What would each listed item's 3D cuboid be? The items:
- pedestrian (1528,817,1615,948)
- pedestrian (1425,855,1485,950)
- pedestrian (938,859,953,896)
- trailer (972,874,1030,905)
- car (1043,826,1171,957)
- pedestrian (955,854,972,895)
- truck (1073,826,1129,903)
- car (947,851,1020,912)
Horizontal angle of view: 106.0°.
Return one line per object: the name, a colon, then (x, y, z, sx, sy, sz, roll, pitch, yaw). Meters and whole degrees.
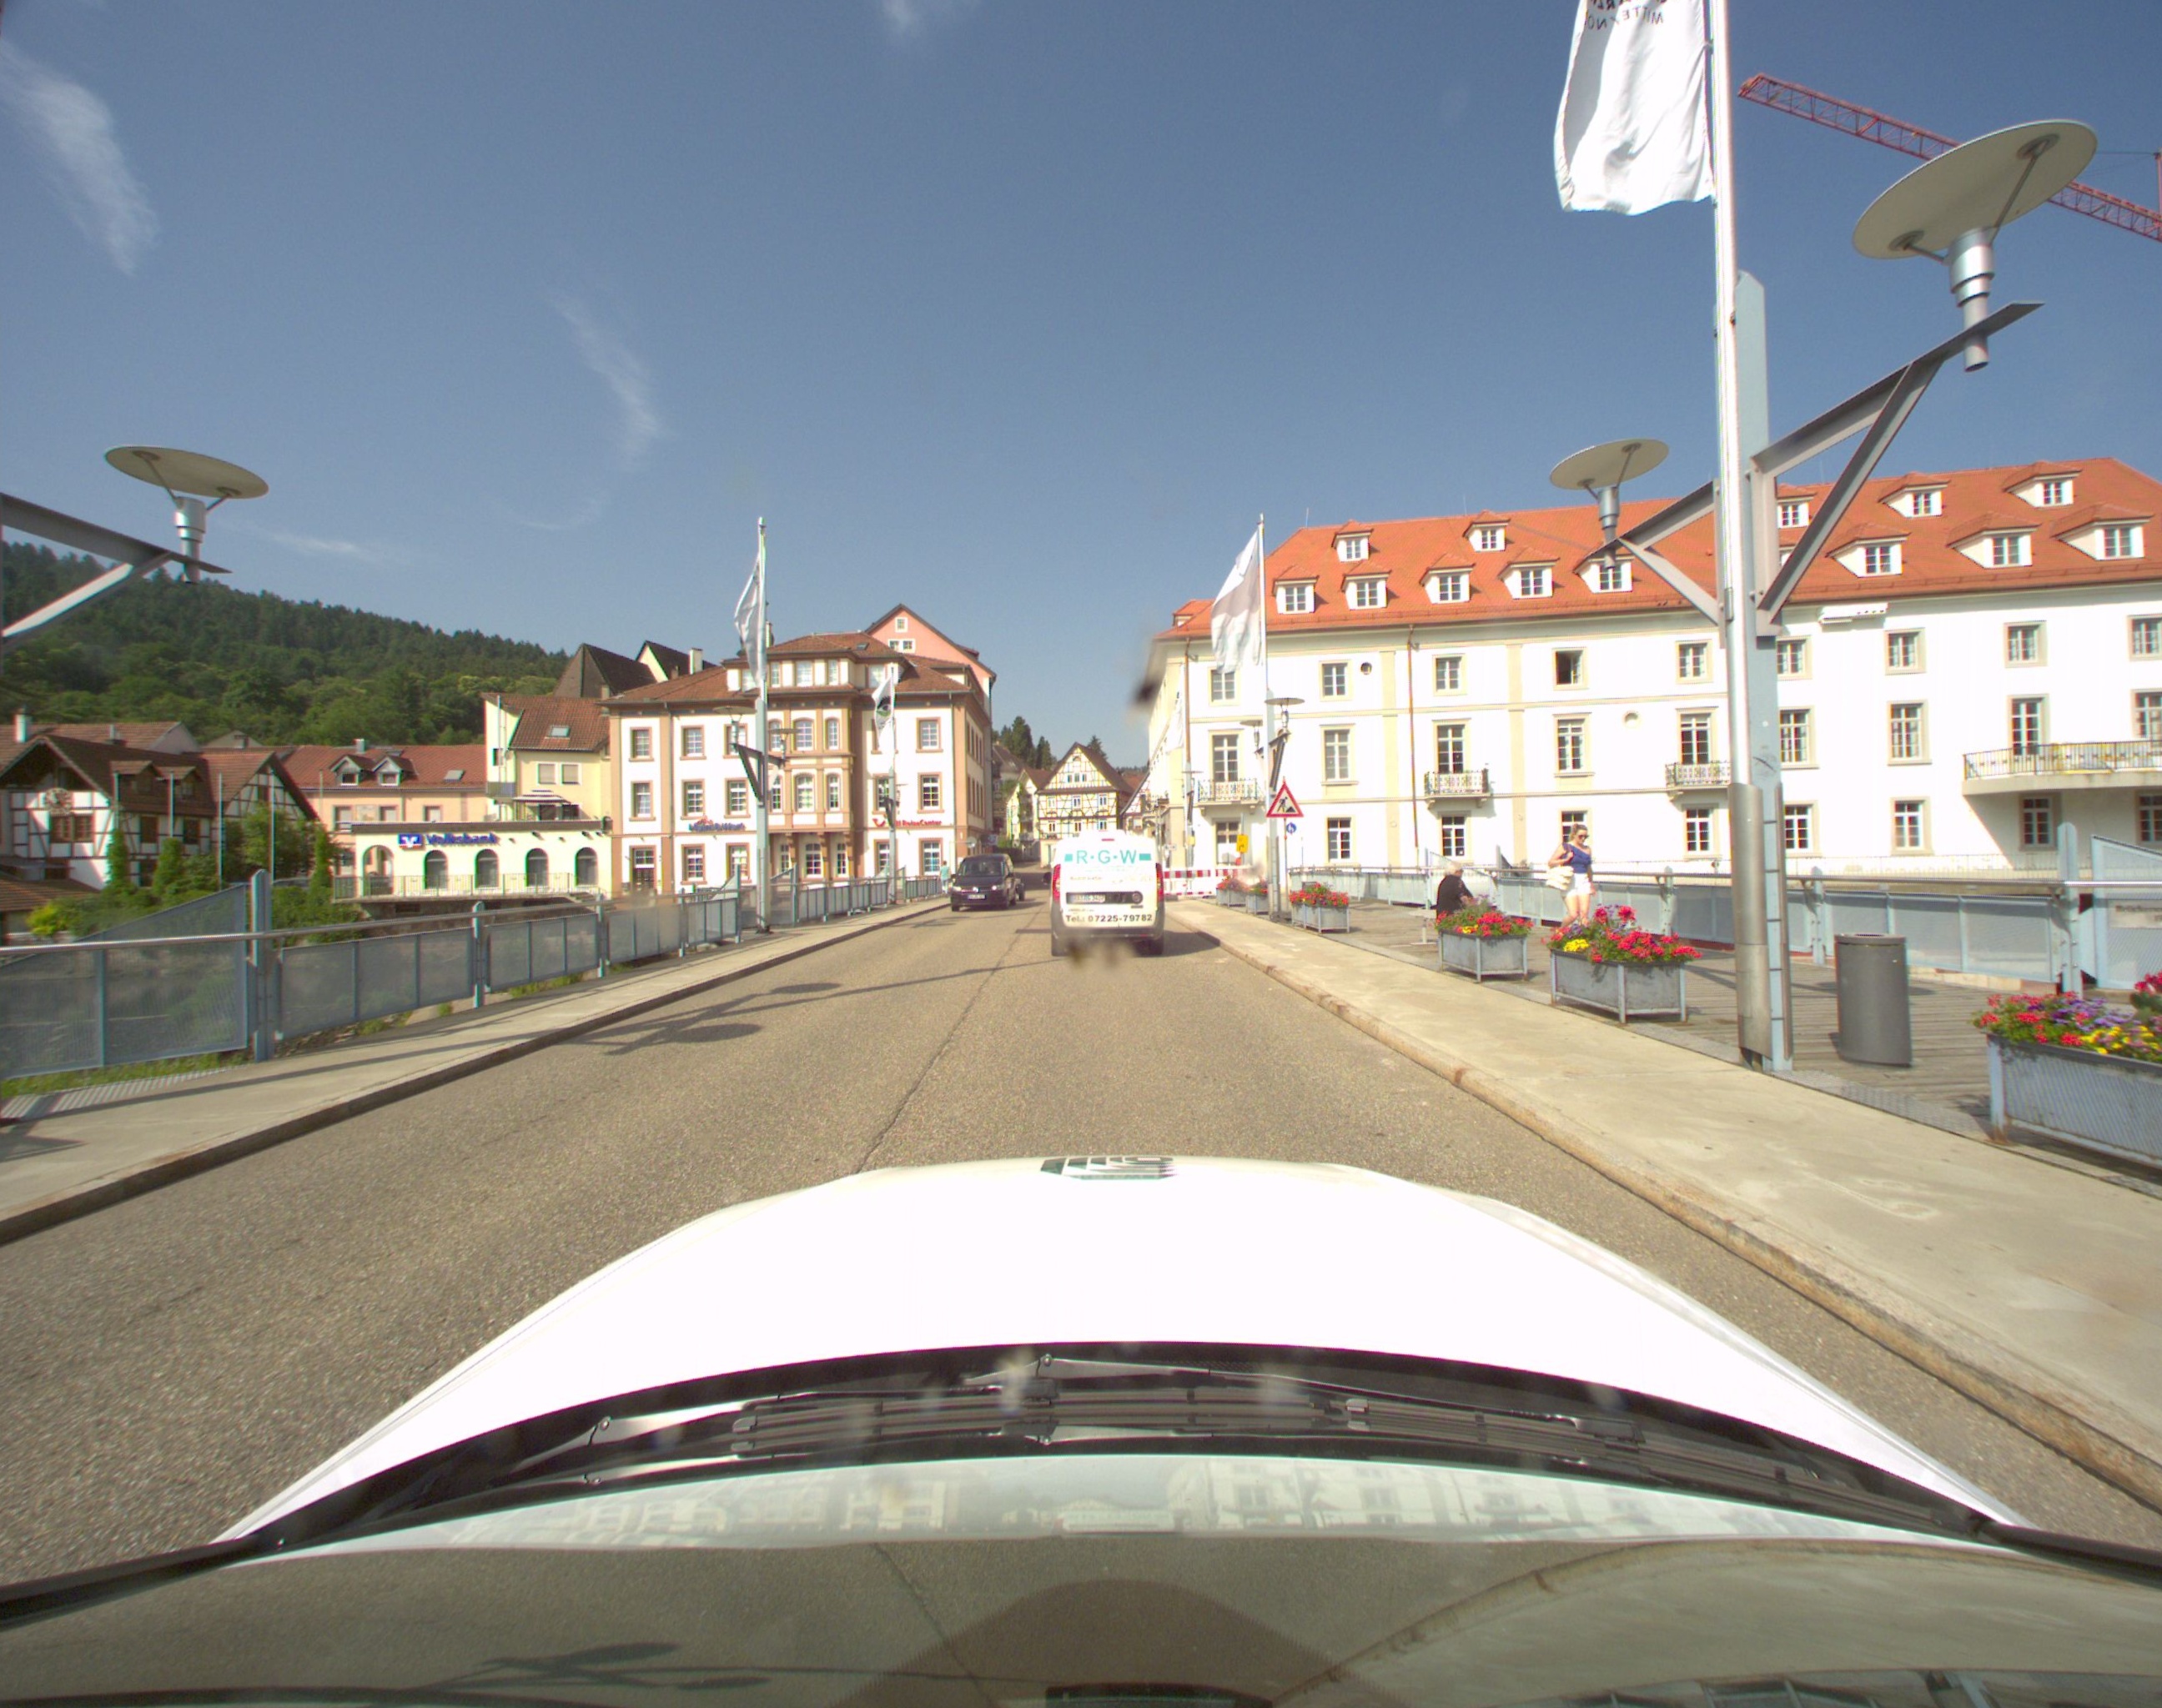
pedestrian: (6.724, 0.372, 11.194, 0.724, 1.723, 0.747, -1, 0, -1)
pedestrian: (5.100, 0.646, 11.139, 0.451, 1.244, 0.625, -2, -1, -6)
pedestrian: (-5.949, 1.039, 35.707, 0.582, 1.609, 0.537, 0, 0, -3)
trailer: (-3.003, 1.314, 31.228, 1.744, 1.022, 4.185, -2, -1, 0)
car: (0.283, 0.565, 14.139, 1.840, 1.906, 4.309, -1, -1, -3)
pedestrian: (-5.133, 0.878, 35.602, 0.613, 1.762, 0.863, 0, 0, -2)
truck: (0.665, 0.369, 29.899, 1.856, 2.585, 4.258, -1, -1, -1)
car: (-3.099, 0.814, 26.784, 1.770, 1.792, 4.697, 0, 0, 1)
